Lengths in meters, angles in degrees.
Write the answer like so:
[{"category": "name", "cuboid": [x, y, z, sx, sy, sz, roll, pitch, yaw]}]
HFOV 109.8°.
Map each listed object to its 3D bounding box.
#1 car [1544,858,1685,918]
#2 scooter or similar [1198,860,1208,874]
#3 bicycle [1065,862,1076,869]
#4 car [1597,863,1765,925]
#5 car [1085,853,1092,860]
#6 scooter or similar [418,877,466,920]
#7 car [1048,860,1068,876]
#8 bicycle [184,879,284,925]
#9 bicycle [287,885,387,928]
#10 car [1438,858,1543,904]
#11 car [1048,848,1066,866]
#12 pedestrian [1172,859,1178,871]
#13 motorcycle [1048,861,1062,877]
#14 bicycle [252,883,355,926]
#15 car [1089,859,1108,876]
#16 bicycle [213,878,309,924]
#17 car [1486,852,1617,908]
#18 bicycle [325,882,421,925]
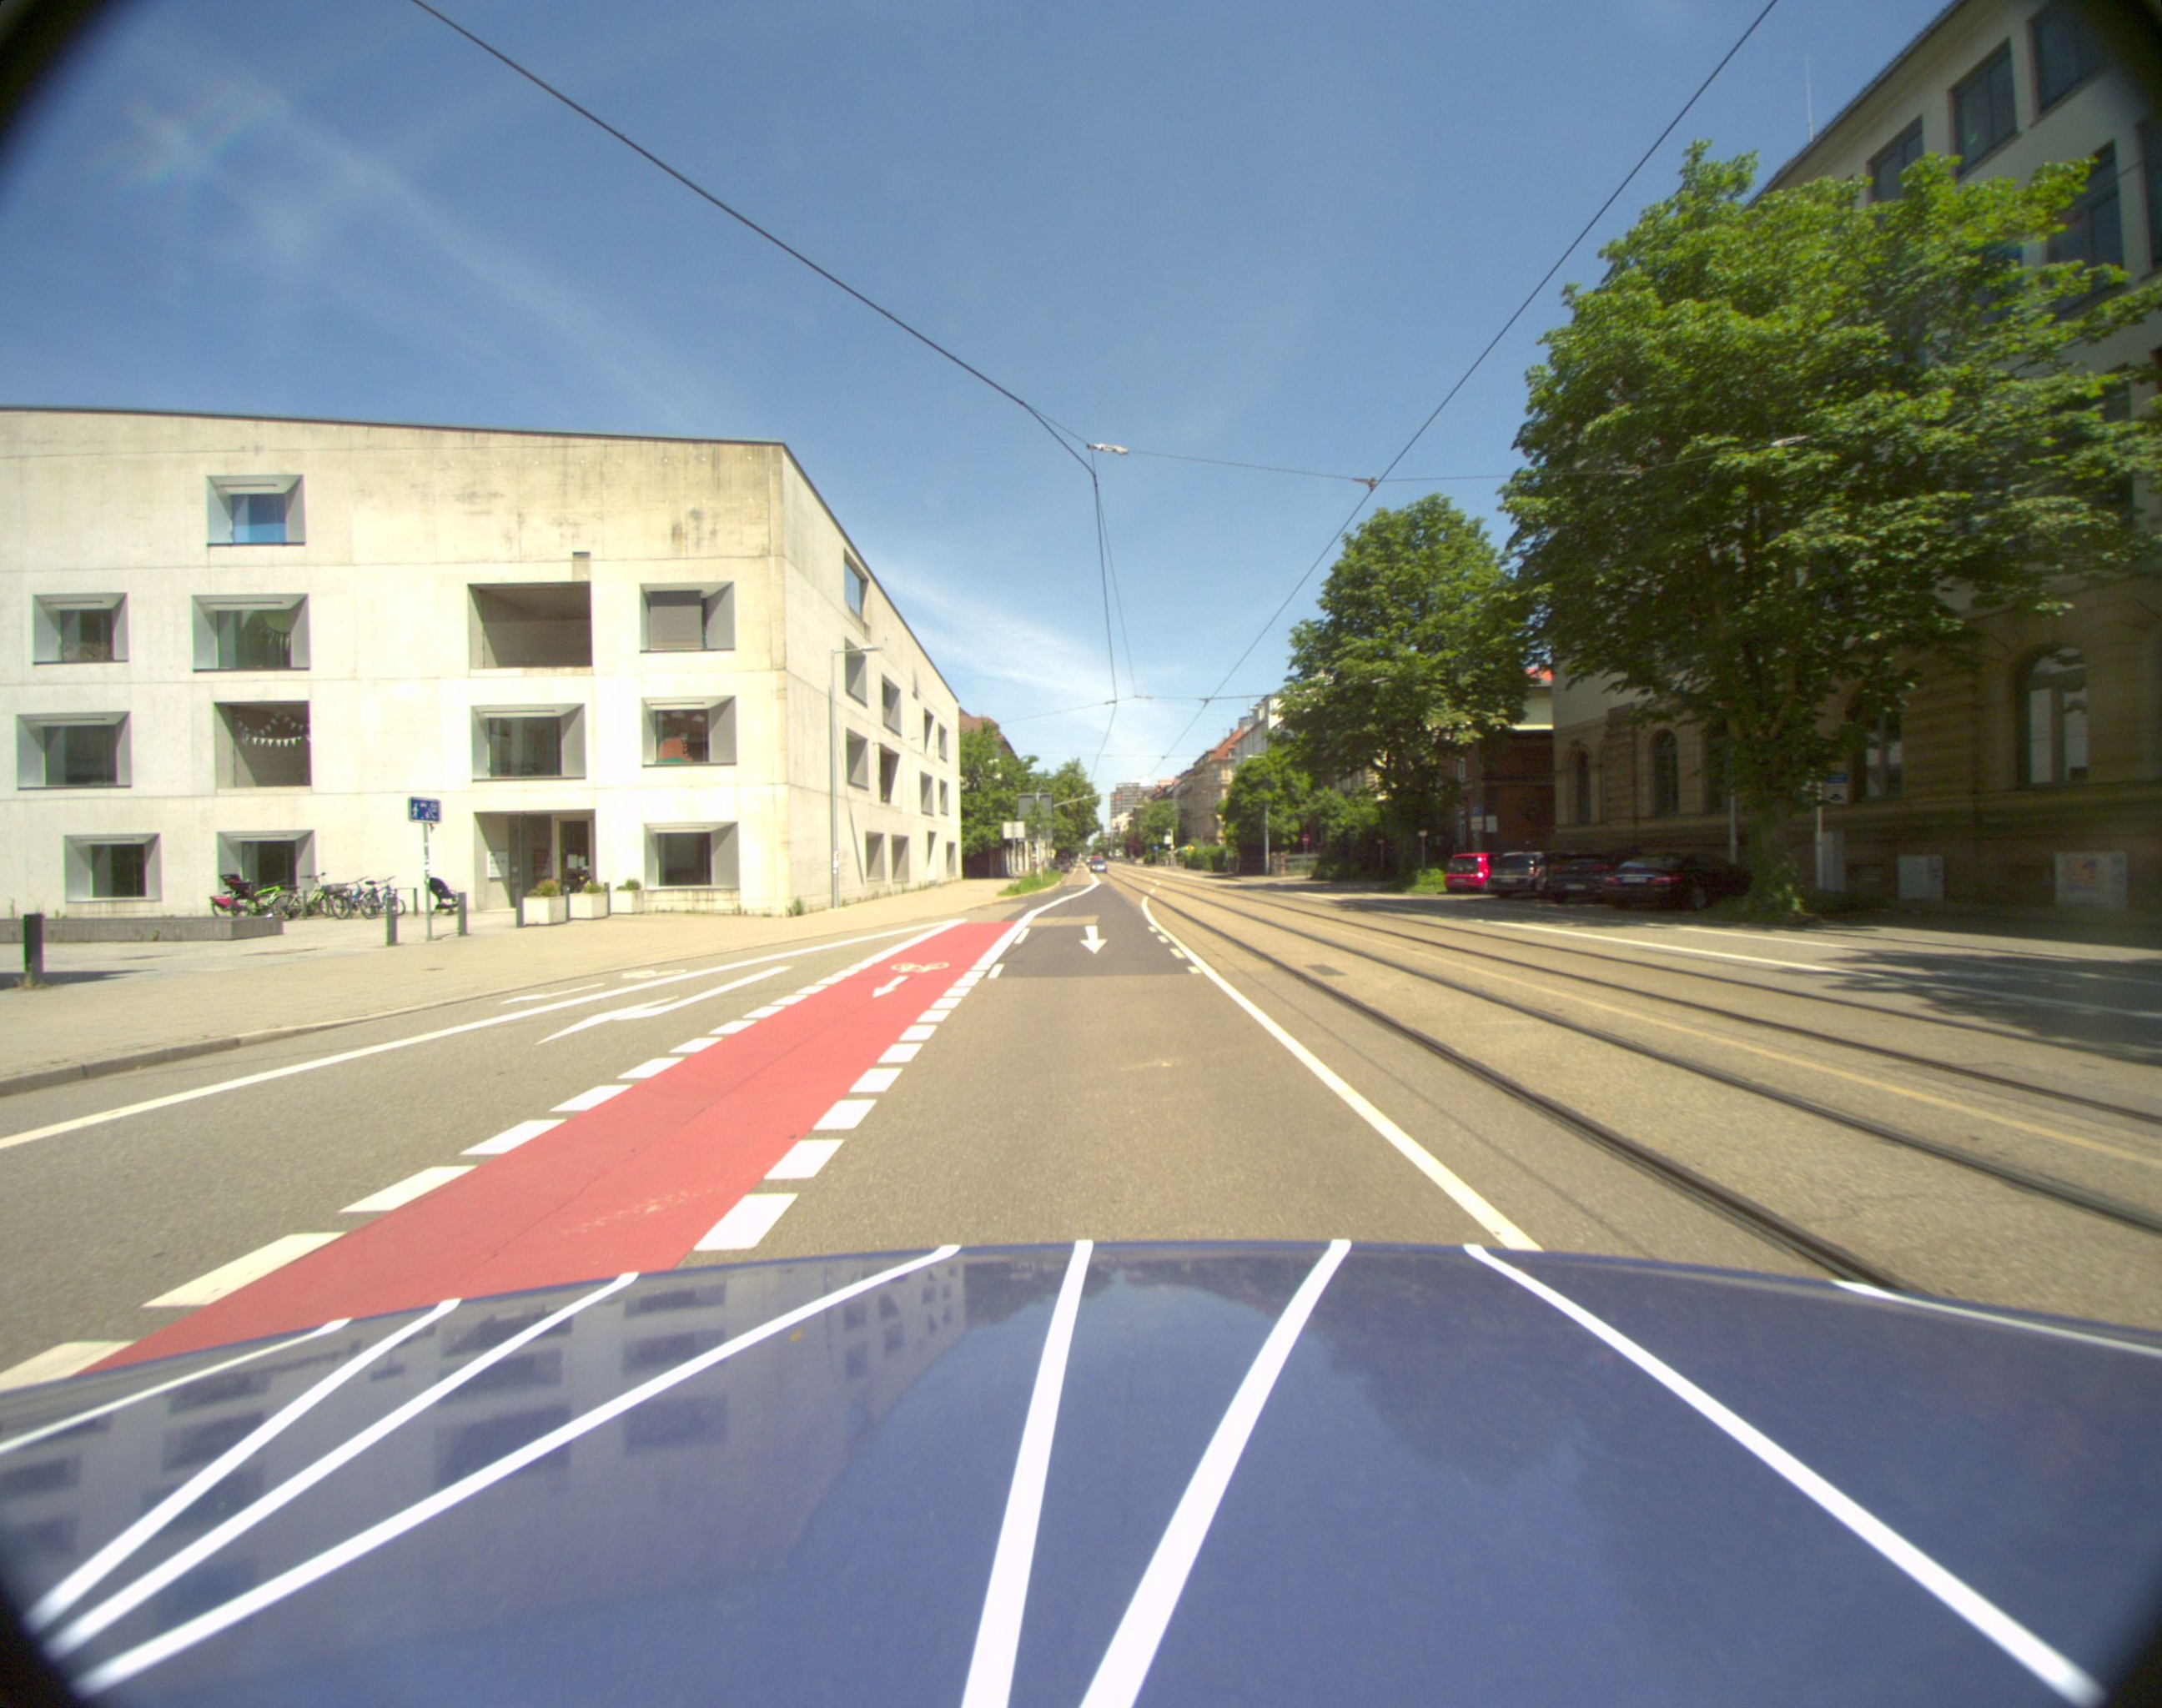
[{"category": "car", "cuboid": [15.283, 0.913, 21.738, 3.824, 1.567, 1.790, 0, 0, -29]}, {"category": "scooter or similar", "cuboid": [13.751, 1.471, 85.774, 1.011, 1.442, 0.597, -1, 1, 0]}, {"category": "bicycle", "cuboid": [-2.020, 2.136, 144.081, 2.037, 1.193, 0.445, -1, 1, 10]}, {"category": "car", "cuboid": [14.818, 0.933, 18.749, 3.939, 1.366, 1.666, 0, -1, -25]}, {"category": "car", "cuboid": [1.713, 0.576, 168.060, 1.539, 1.535, 4.000, -1, 0, 0]}, {"category": "scooter or similar", "cuboid": [-17.627, 1.217, 20.965, 0.534, 1.133, 0.963, -1, 0, -6]}, {"category": "car", "cuboid": [-2.417, 1.466, 81.570, 1.864, 1.568, 4.878, -1, 0, 1]}, {"category": "bicycle", "cuboid": [-23.012, 1.286, 20.696, 0.652, 1.109, 1.930, -1, 0, -6]}, {"category": "bicycle", "cuboid": [-19.670, 1.350, 20.164, 0.652, 0.979, 2.199, -1, 0, -6]}, {"category": "car", "cuboid": [14.994, 0.965, 27.826, 3.357, 1.507, 1.666, -2, 0, -25]}, {"category": "car", "cuboid": [-2.839, 0.319, 92.144, 1.864, 2.002, 4.975, -1, 1, 1]}, {"category": "pedestrian", "cuboid": [12.810, 1.492, 103.579, 0.742, 1.632, 0.939, -1, 0, 3]}, {"category": "motorcycle", "cuboid": [-2.501, 1.417, 74.061, 0.746, 1.497, 2.561, 0, 0, 12]}, {"category": "bicycle", "cuboid": [-20.779, 1.329, 20.388, 0.652, 0.979, 2.199, -1, 0, -6]}, {"category": "car", "cuboid": [1.757, 1.330, 77.698, 1.893, 1.561, 4.037, -1, 1, 0]}, {"category": "bicycle", "cuboid": [-22.279, 1.248, 20.695, 0.652, 1.125, 1.887, -1, 0, -6]}, {"category": "car", "cuboid": [15.284, 0.789, 24.616, 4.328, 1.575, 1.666, -2, 0, -29]}, {"category": "bicycle", "cuboid": [-18.840, 1.293, 20.284, 0.652, 0.998, 2.199, -1, 0, -6]}]
